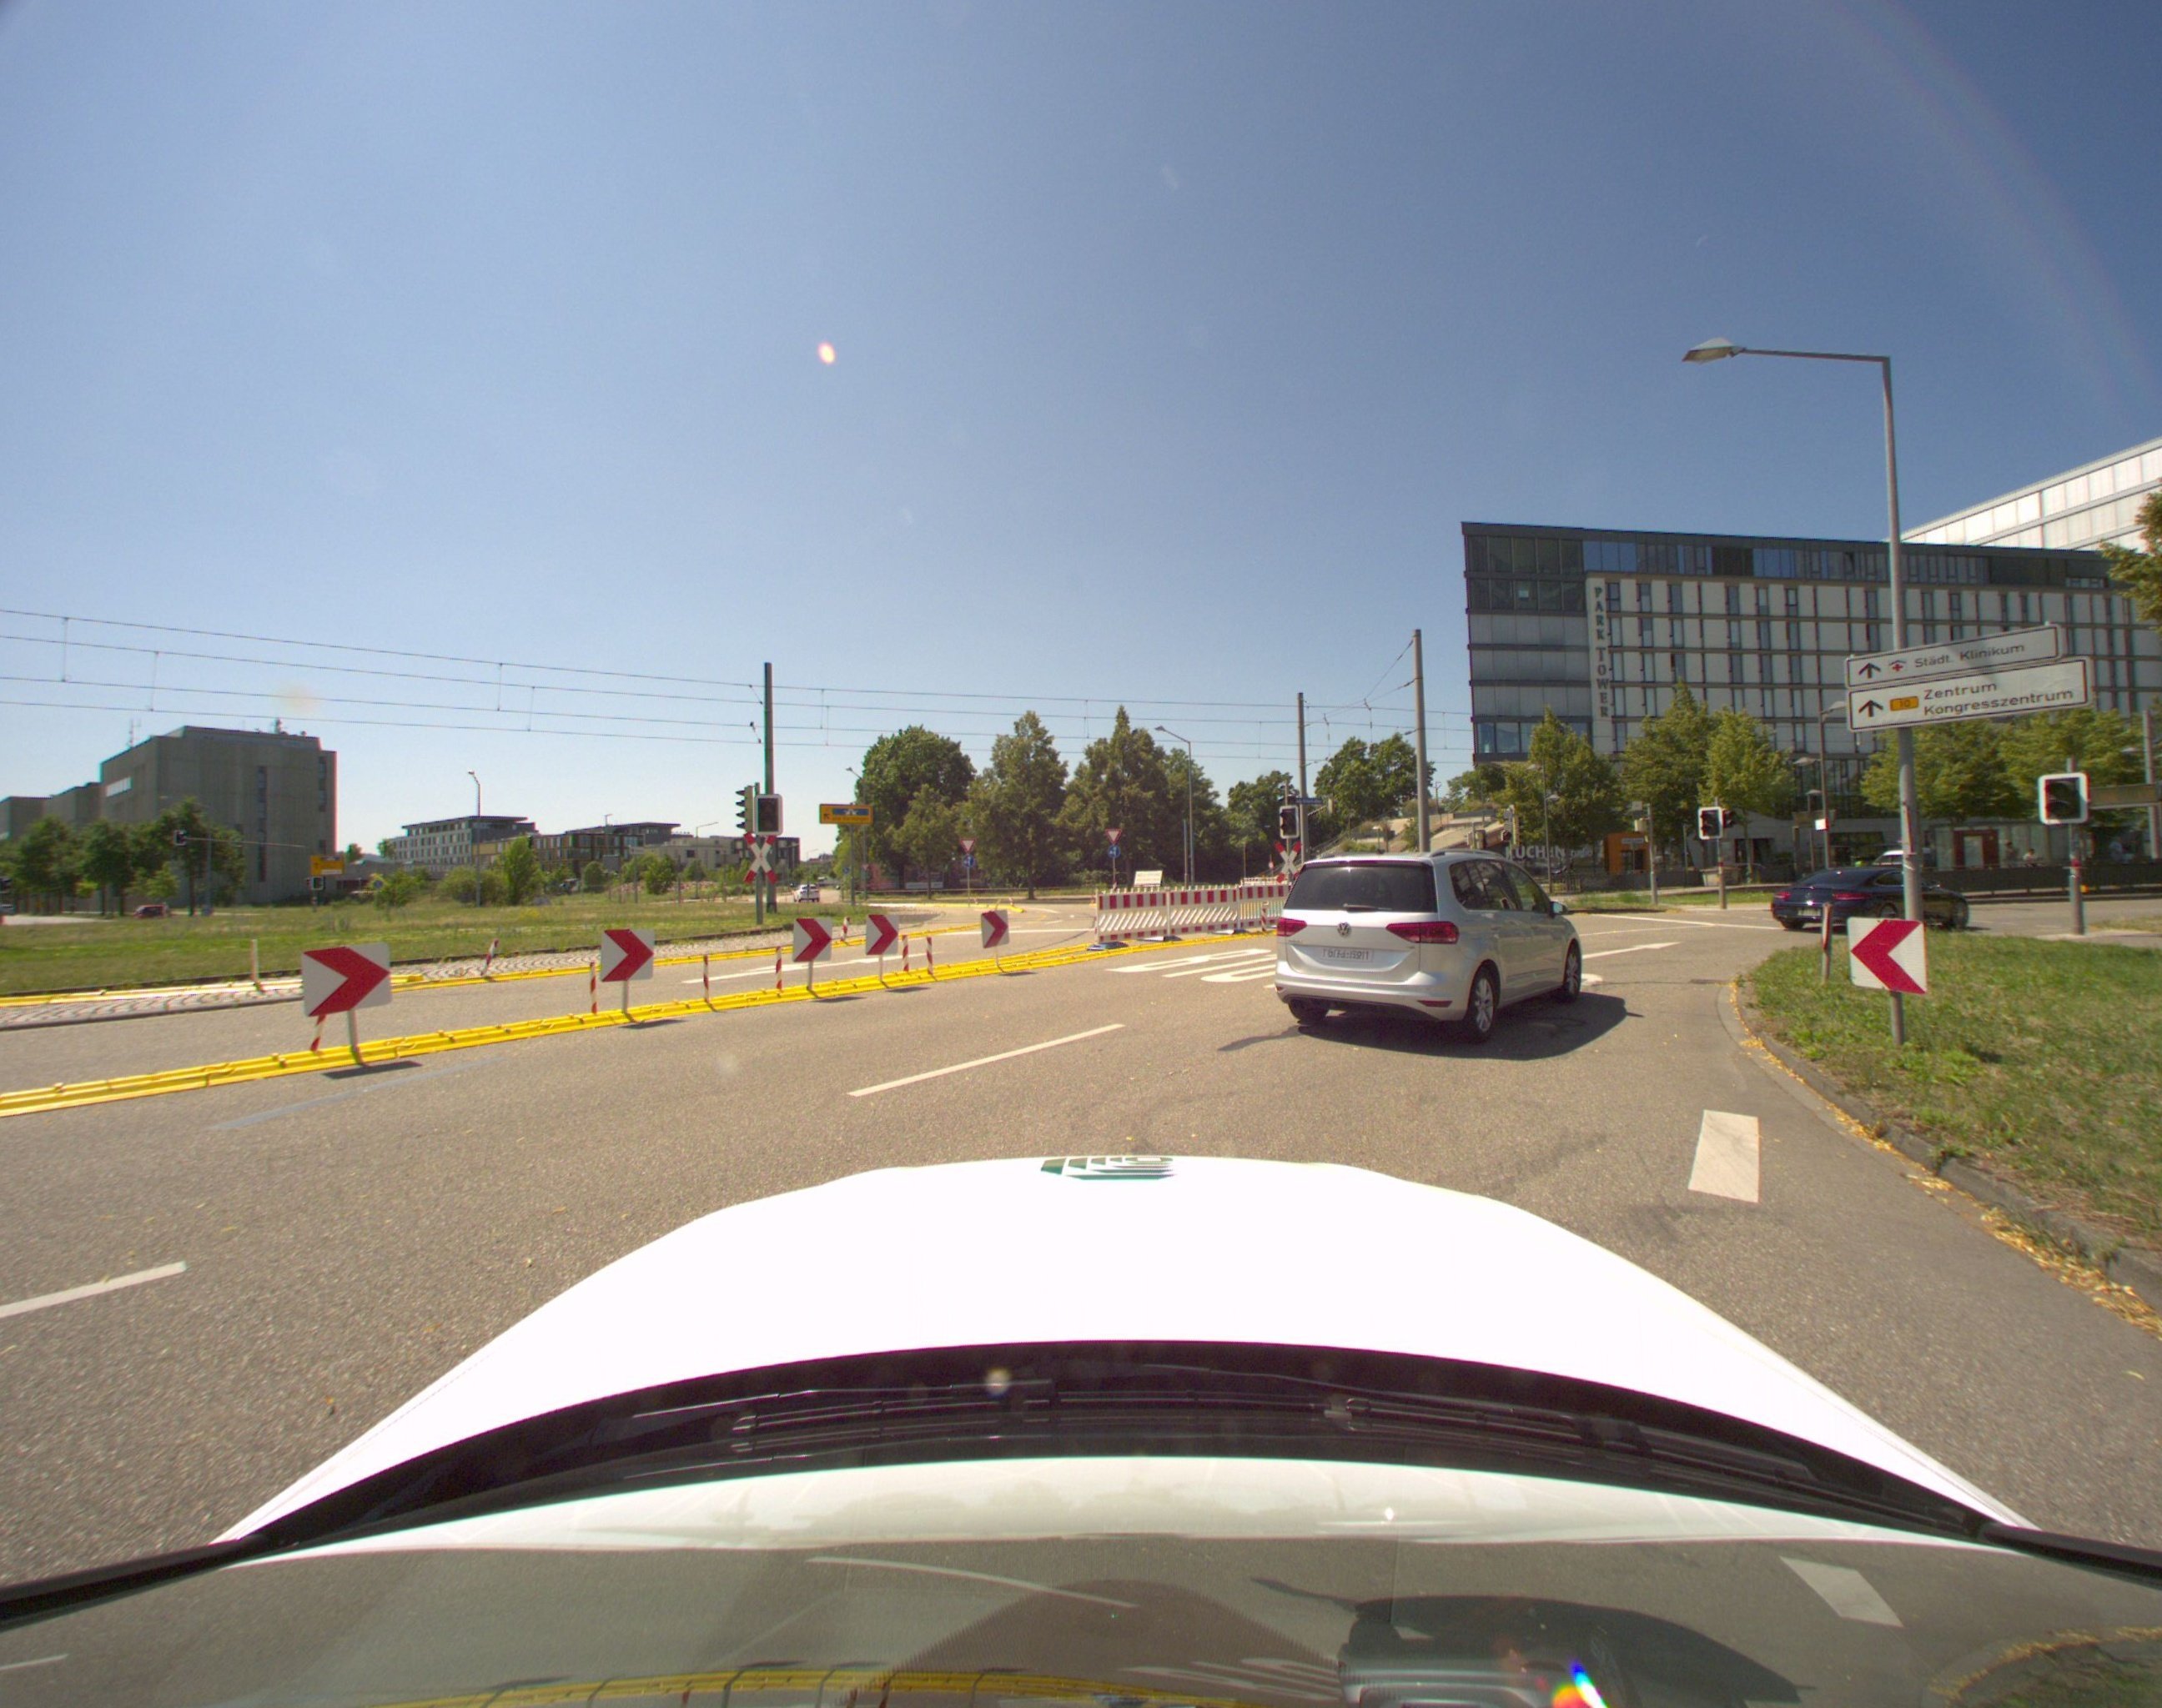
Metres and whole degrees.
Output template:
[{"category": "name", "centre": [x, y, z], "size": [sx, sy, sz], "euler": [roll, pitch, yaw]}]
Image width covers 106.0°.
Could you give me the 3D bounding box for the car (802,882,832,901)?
[{"category": "car", "centre": [-22.828, 3.210, 70.230], "size": [2.003, 1.486, 4.331], "euler": [-1, -2, -24]}]

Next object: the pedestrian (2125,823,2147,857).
[{"category": "pedestrian", "centre": [54.215, -0.725, 41.839], "size": [0.584, 1.752, 0.409], "euler": [-1, -2, -12]}]

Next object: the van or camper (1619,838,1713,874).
[{"category": "van or camper", "centre": [48.819, 0.181, 68.031], "size": [6.767, 2.822, 2.374], "euler": [-1, -2, -11]}]

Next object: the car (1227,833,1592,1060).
[{"category": "car", "centre": [3.544, 0.686, 8.213], "size": [1.784, 1.649, 4.631], "euler": [-1, -1, 44]}]

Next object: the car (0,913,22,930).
[{"category": "car", "centre": [-101.592, 6.363, 76.803], "size": [3.356, 1.408, 1.771], "euler": [-2, -2, 33]}]

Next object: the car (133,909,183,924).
[{"category": "car", "centre": [-73.964, 5.003, 65.278], "size": [3.479, 1.090, 1.505], "euler": [-2, -1, 20]}]

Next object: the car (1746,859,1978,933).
[{"category": "car", "centre": [17.138, 0.855, 17.851], "size": [4.959, 1.436, 1.844], "euler": [0, -1, -23]}]
